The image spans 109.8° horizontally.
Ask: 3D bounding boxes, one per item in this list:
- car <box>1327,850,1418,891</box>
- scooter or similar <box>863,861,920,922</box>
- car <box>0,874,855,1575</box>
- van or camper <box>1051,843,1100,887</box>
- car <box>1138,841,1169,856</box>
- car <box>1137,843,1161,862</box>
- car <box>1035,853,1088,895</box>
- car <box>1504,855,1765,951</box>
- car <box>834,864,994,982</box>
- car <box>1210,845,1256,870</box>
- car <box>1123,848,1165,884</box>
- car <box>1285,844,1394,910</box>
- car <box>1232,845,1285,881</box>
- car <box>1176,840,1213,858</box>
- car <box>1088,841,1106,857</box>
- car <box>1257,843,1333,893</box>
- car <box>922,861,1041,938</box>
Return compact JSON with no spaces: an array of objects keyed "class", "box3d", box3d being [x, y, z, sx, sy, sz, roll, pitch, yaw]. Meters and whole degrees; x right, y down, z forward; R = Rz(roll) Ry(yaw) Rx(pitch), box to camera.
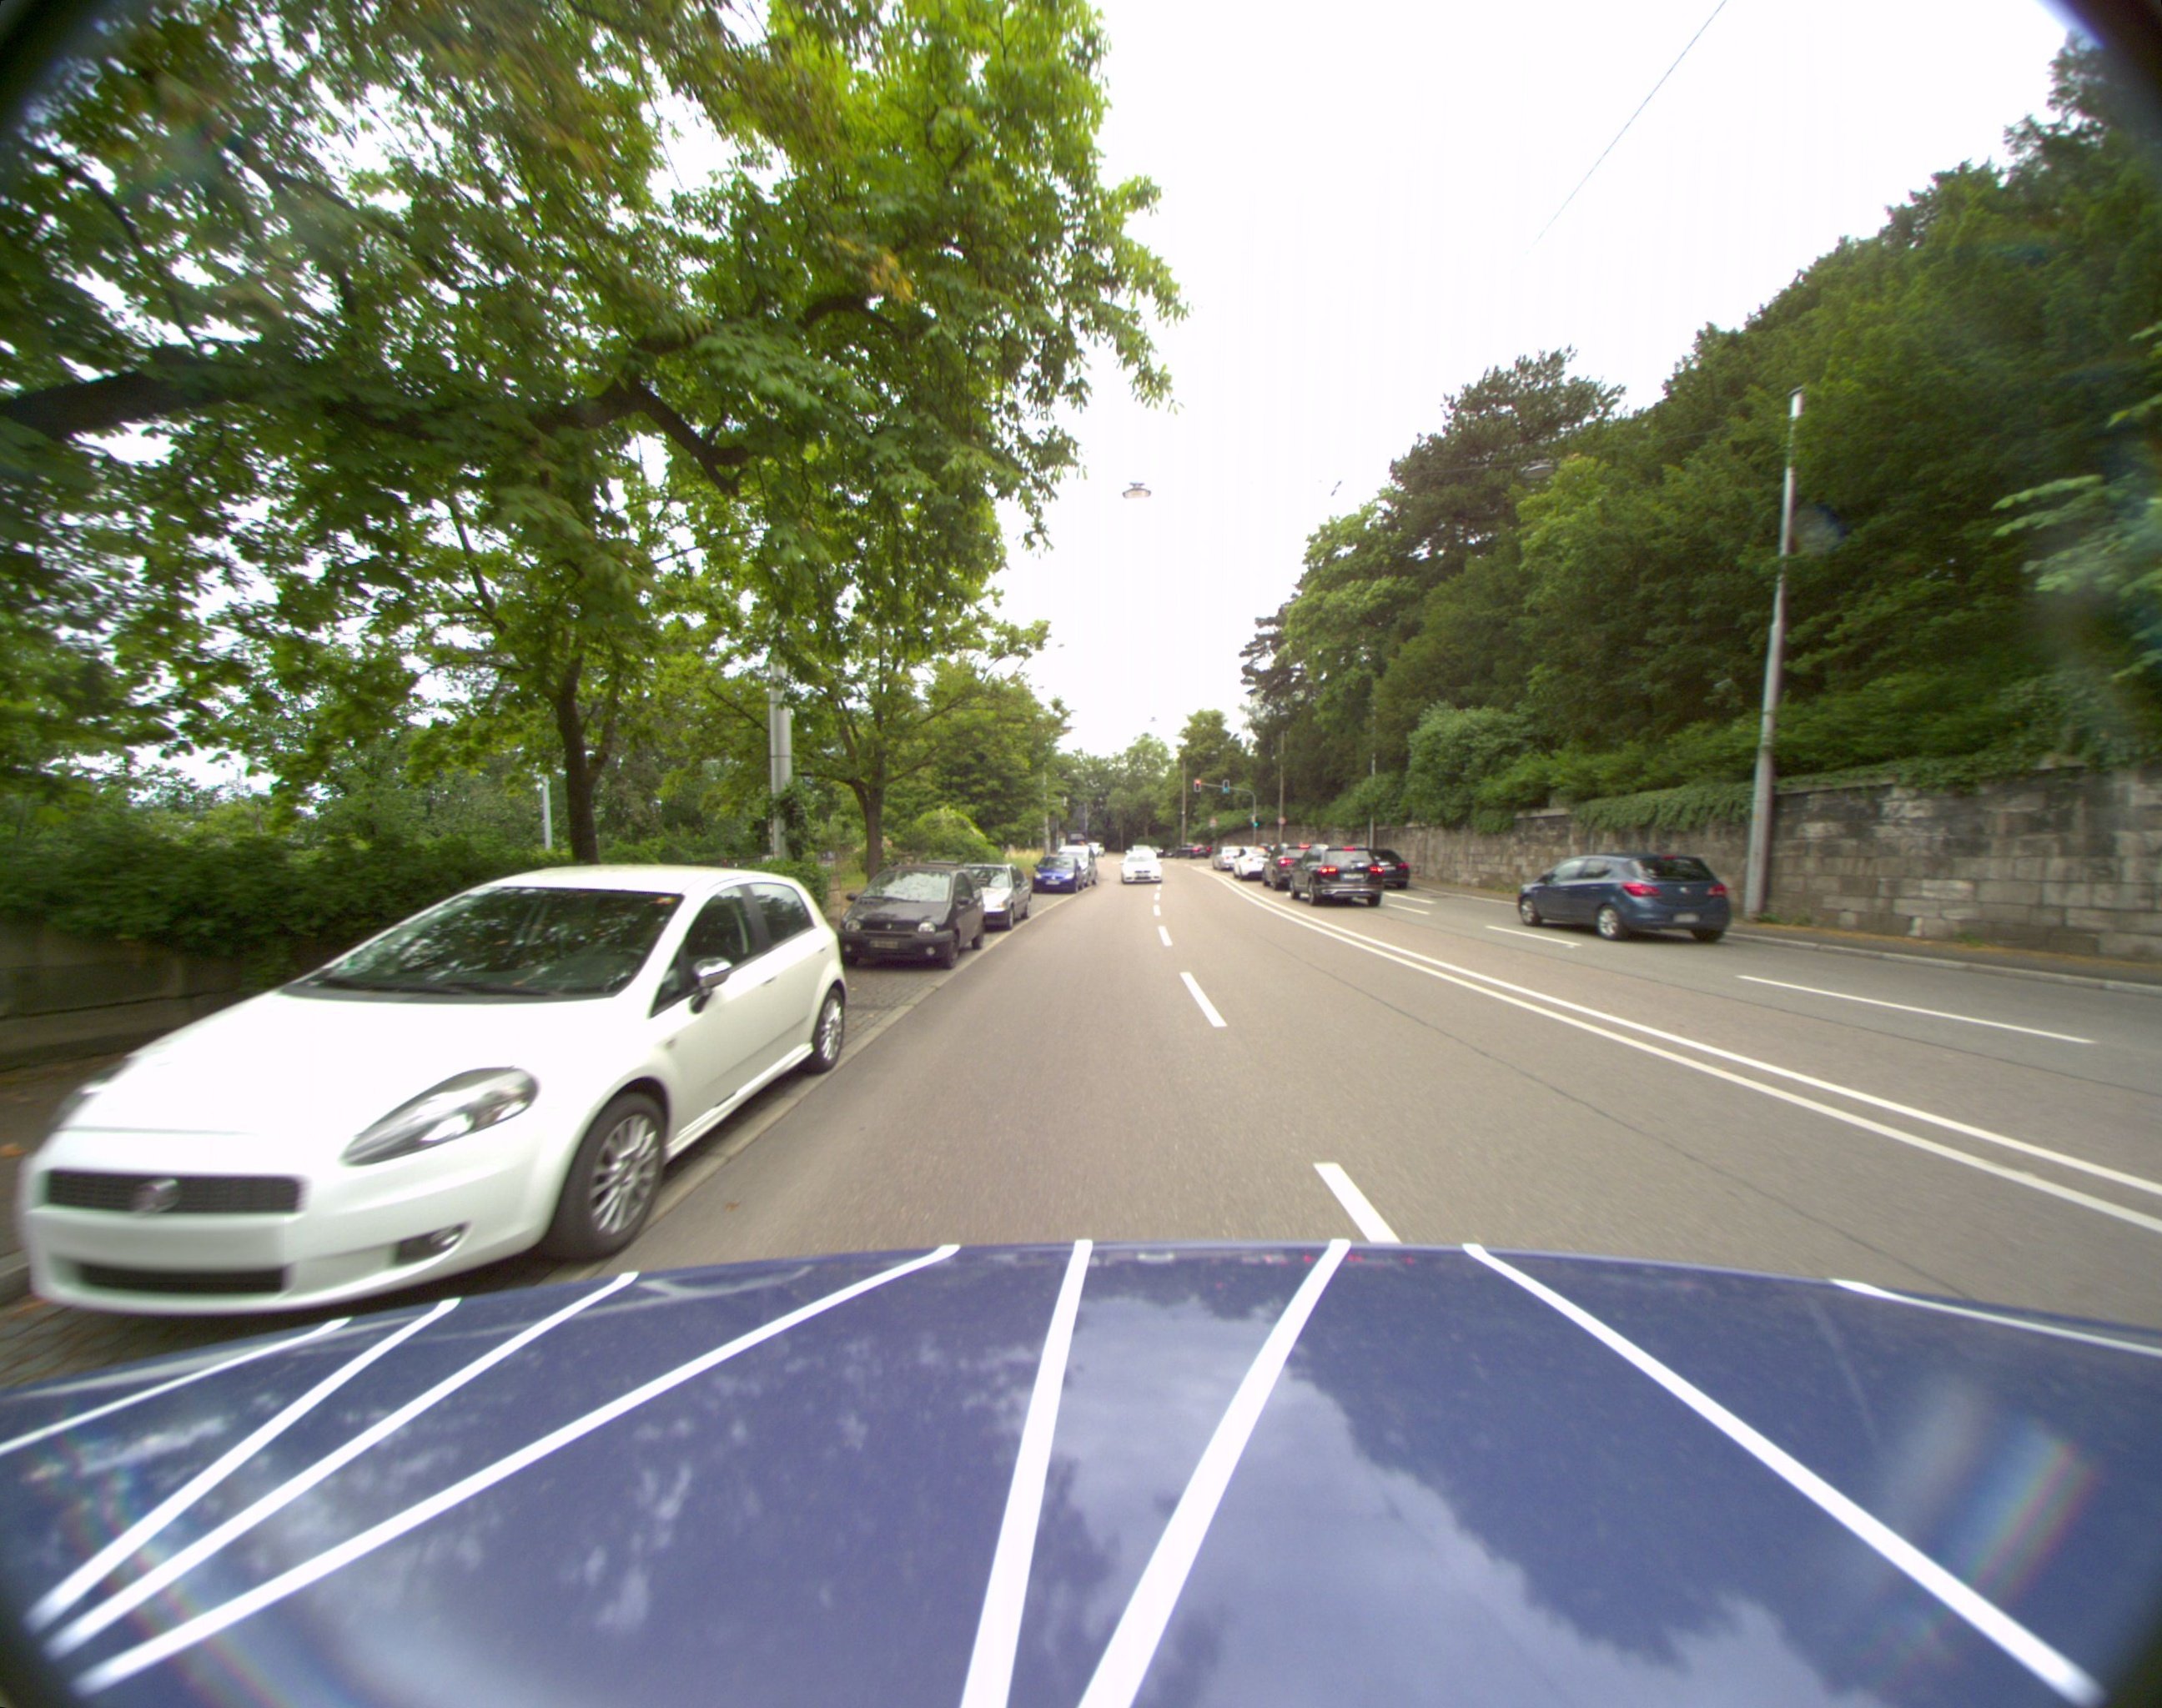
[{"class":"car","box3d":[11.097,0.556,29.281,2.006,1.401,4.756,0,1,4]},{"class":"scooter or similar","box3d":[-4.356,0.833,17.605,0.562,1.237,2.000,4,2,6]},{"class":"car","box3d":[-2.637,0.918,3.791,1.719,1.463,4.038,3,0,1]},{"class":"van or camper","box3d":[-0.187,0.459,34.923,1.702,1.834,4.244,0,1,7]},{"class":"car","box3d":[7.786,-0.605,81.691,1.740,1.444,4.042,-2,2,-21]},{"class":"car","box3d":[5.389,-0.145,60.867,1.802,1.382,3.527,0,2,4]},{"class":"car","box3d":[-0.711,0.738,30.142,1.601,1.451,3.943,1,1,6]},{"class":"car","box3d":[9.544,0.751,13.583,1.847,1.428,4.000,0,1,2]},{"class":"car","box3d":[-2.415,0.937,11.786,1.565,1.414,3.424,2,1,2]},{"class":"car","box3d":[9.397,0.197,47.326,1.998,1.461,4.877,0,1,1]},{"class":"car","box3d":[3.035,0.532,37.401,1.822,1.463,4.783,-2,2,3]},{"class":"car","box3d":[7.244,0.567,21.782,1.852,1.642,4.625,1,1,5]},{"class":"car","box3d":[8.477,0.386,36.684,1.841,1.545,4.789,-1,1,5]},{"class":"car","box3d":[9.915,-0.454,66.819,1.637,1.426,3.952,-2,1,-17]},{"class":"car","box3d":[1.800,-0.532,87.001,1.958,1.761,4.000,-1,0,1]},{"class":"car","box3d":[8.104,0.447,29.176,1.964,1.740,4.879,0,1,5]},{"class":"car","box3d":[-2.097,0.918,17.274,1.774,1.391,4.552,1,1,4]}]
